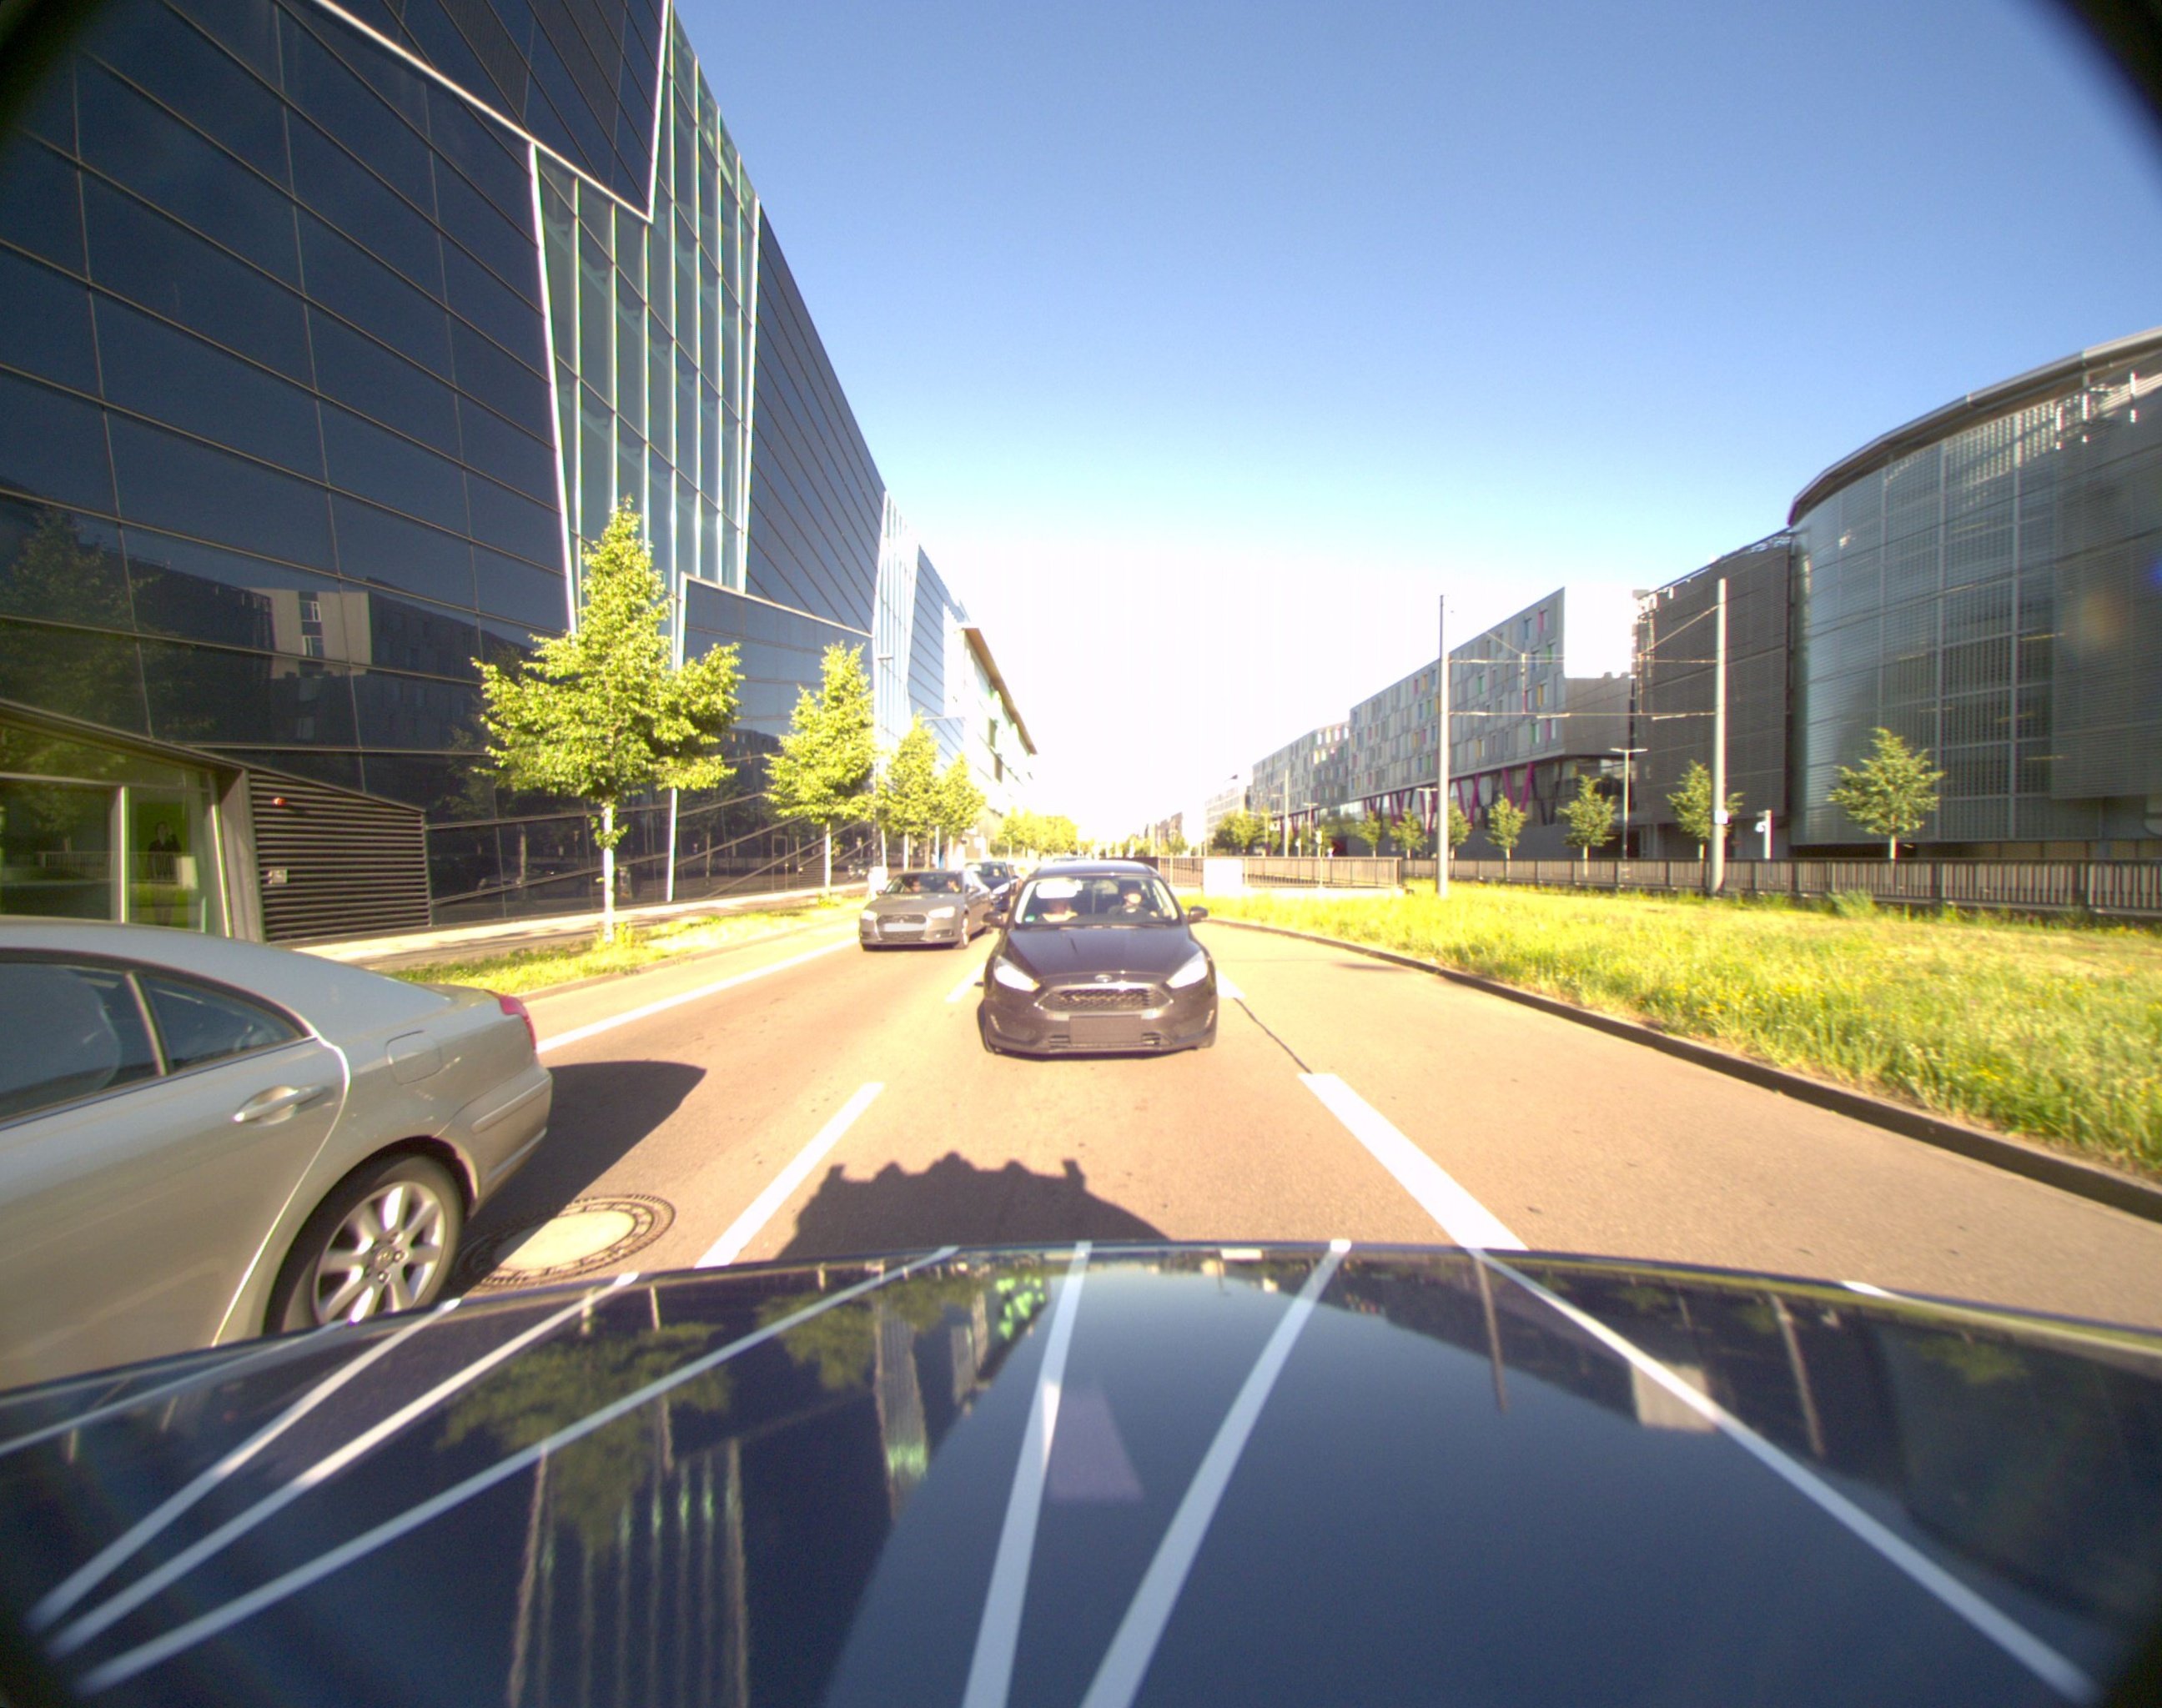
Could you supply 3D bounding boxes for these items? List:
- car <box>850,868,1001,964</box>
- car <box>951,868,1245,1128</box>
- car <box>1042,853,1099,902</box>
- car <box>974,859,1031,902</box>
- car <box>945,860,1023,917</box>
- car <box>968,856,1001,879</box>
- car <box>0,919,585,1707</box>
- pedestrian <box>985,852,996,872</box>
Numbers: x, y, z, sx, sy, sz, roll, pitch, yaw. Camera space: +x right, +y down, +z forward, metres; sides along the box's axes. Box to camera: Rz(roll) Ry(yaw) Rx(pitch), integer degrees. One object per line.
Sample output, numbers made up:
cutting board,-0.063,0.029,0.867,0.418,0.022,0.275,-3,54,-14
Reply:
car,-2.710,1.037,14.237,1.750,1.384,4.264,-1,0,2
car,0.123,0.933,6.987,1.787,1.499,4.590,-1,0,0
car,-0.321,0.796,27.464,1.907,1.612,4.000,0,1,1
car,-2.892,0.946,28.769,1.753,1.469,3.418,-1,0,0
car,-2.769,0.955,22.466,1.753,1.469,3.972,-1,0,0
car,-6.933,0.946,54.841,1.740,1.489,4.715,2,0,0
car,-3.049,1.038,0.980,1.750,1.473,4.628,0,1,0
pedestrian,-8.417,0.712,70.715,0.828,1.814,0.905,3,0,0
